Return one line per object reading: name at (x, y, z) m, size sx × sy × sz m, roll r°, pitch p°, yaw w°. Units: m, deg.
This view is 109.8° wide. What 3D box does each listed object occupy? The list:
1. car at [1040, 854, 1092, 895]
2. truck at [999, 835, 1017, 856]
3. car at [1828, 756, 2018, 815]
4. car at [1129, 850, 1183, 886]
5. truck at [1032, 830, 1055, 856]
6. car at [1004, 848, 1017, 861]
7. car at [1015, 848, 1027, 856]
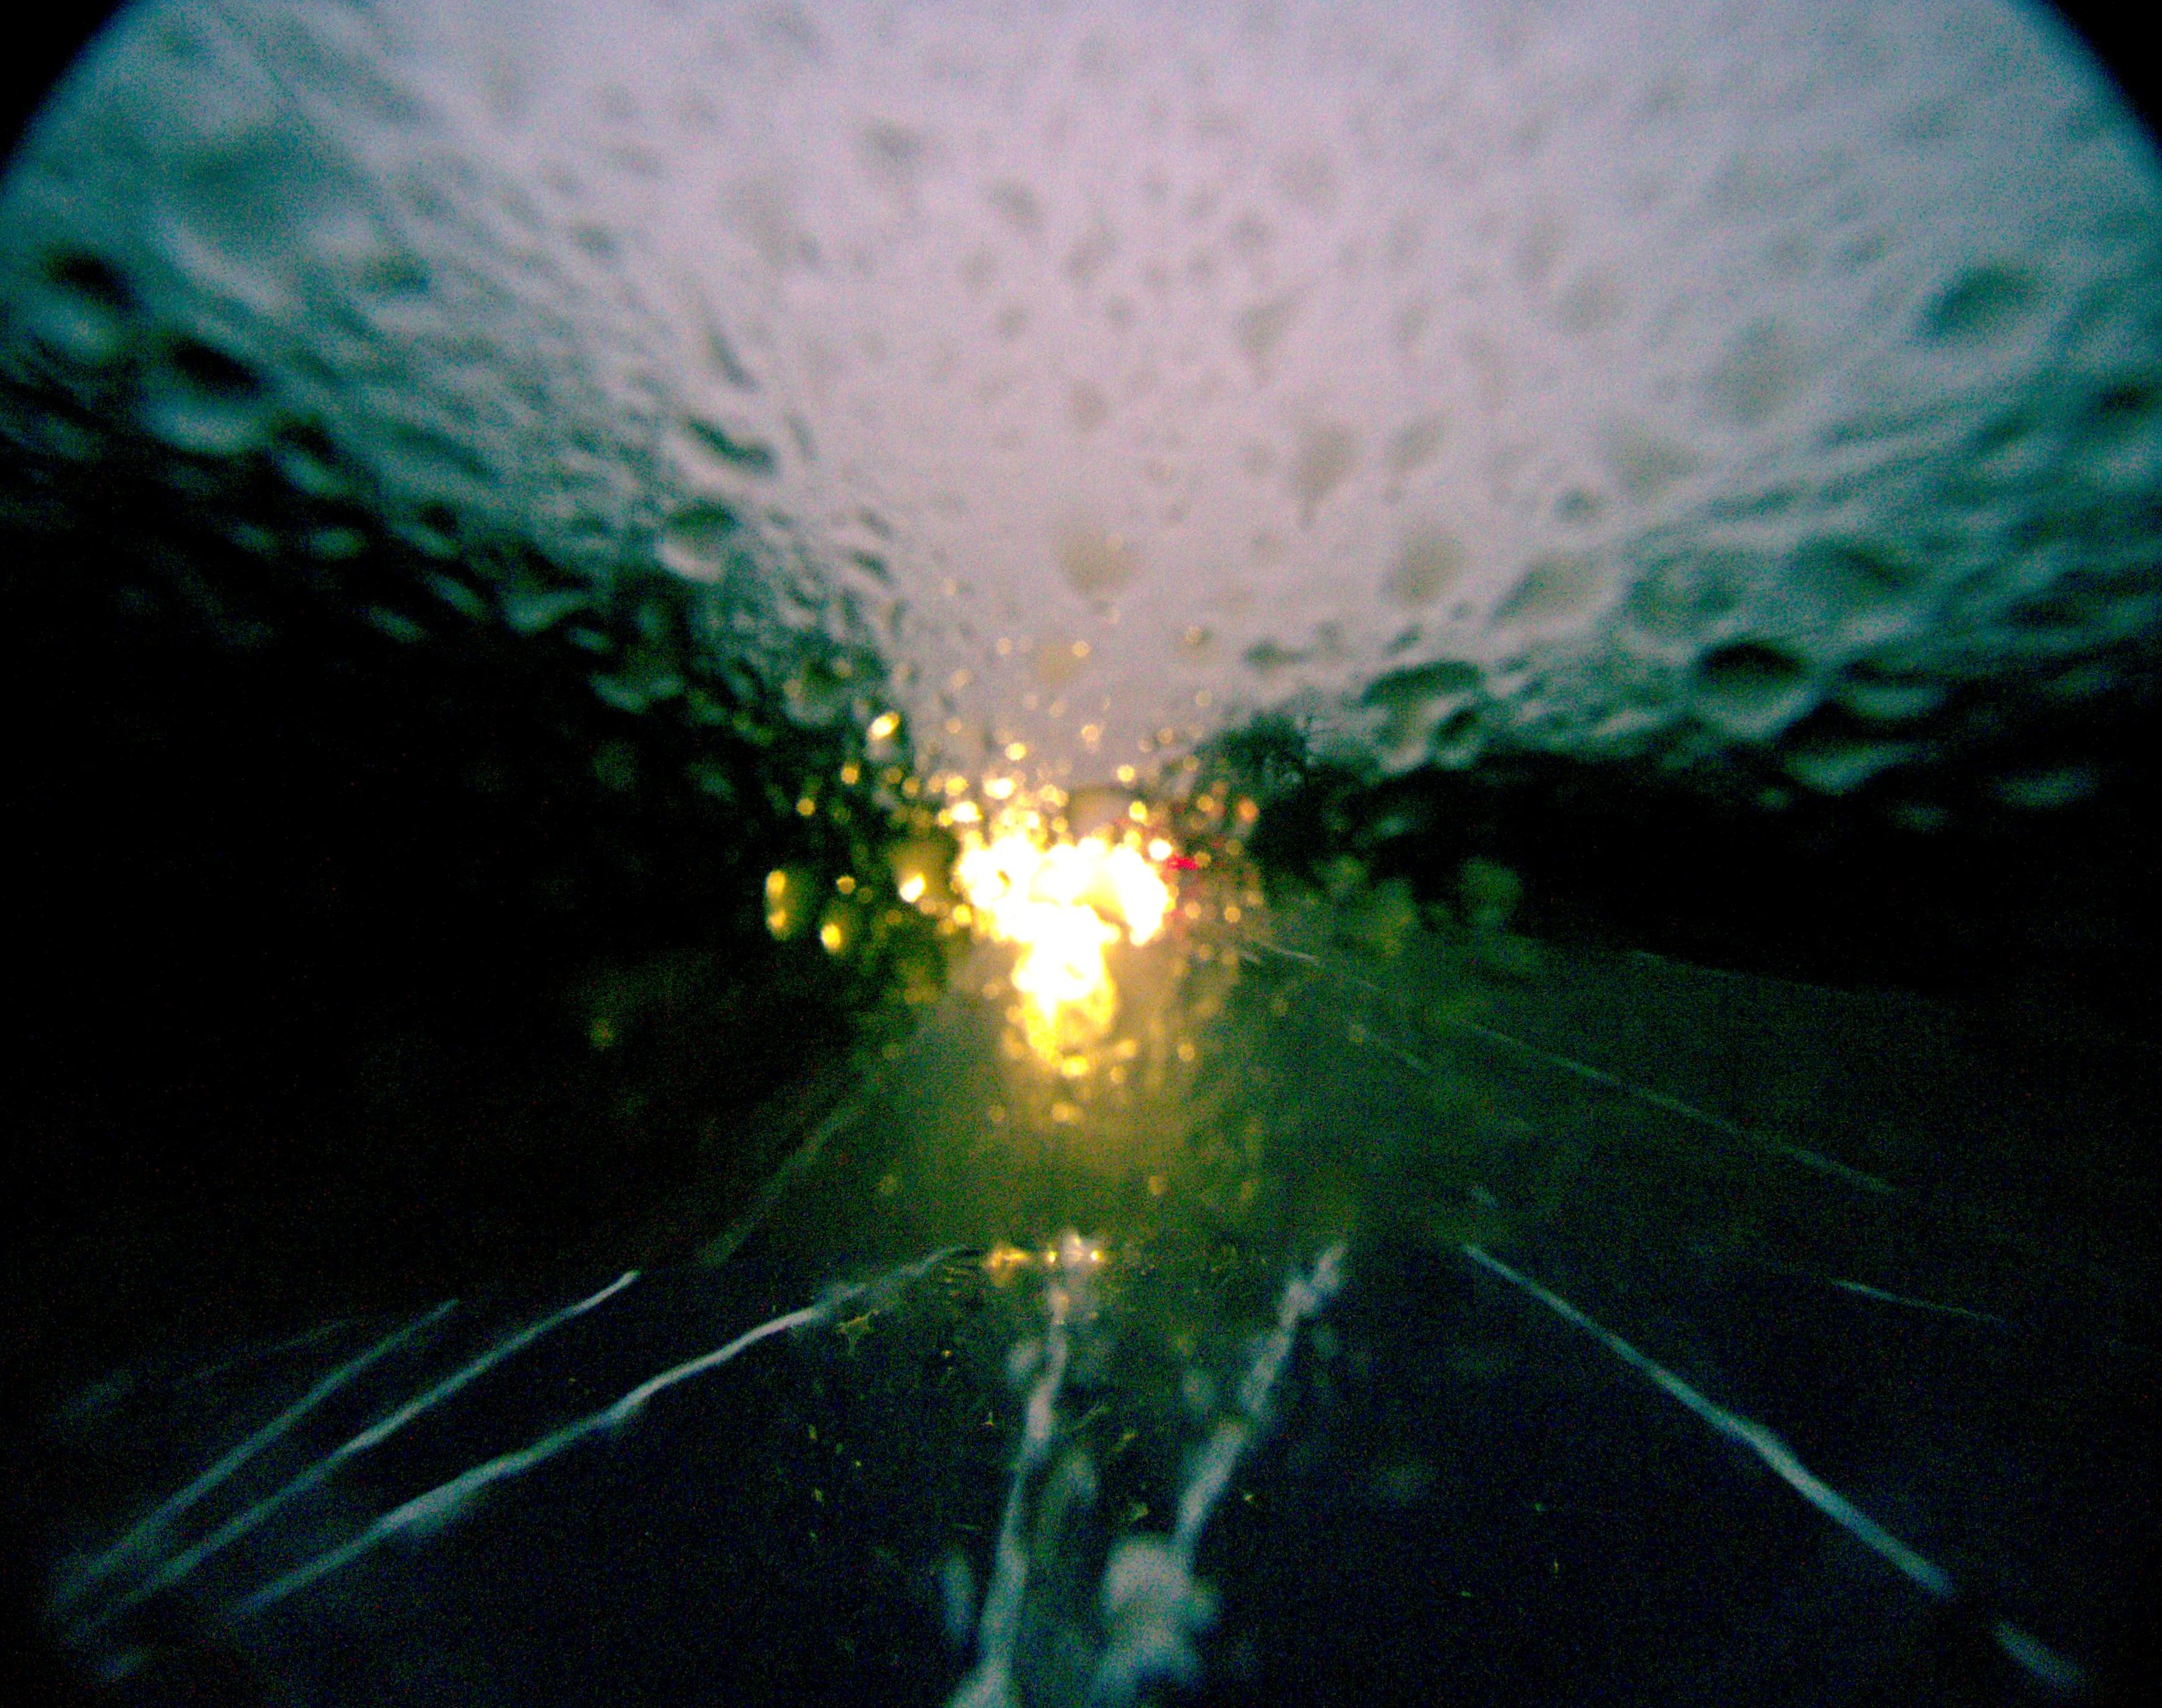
car at (-0.681, 0.775, 31.000) m, size 1.851 × 1.429 × 4.243 m, roll -2°, pitch 1°, yaw -4°
truck at (-16.780, -1.906, 174.652) m, size 3.358 × 4.401 × 11.158 m, roll -3°, pitch 1°, yaw -8°
car at (27.886, -2.206, 25.364) m, size 1.790 × 1.625 × 3.940 m, roll -3°, pitch 1°, yaw -6°
car at (3.377, 0.585, 34.747) m, size 1.769 × 1.488 × 4.101 m, roll -2°, pitch 0°, yaw -4°
truck at (-5.425, -1.559, 108.214) m, size 2.656 × 3.576 × 9.835 m, roll -1°, pitch 1°, yaw -6°
car at (-10.342, 0.053, 110.991) m, size 1.702 × 1.721 × 3.997 m, roll -3°, pitch 1°, yaw -6°
car at (-11.190, -0.324, 141.862) m, size 1.851 × 1.452 × 4.241 m, roll -2°, pitch 1°, yaw -9°
